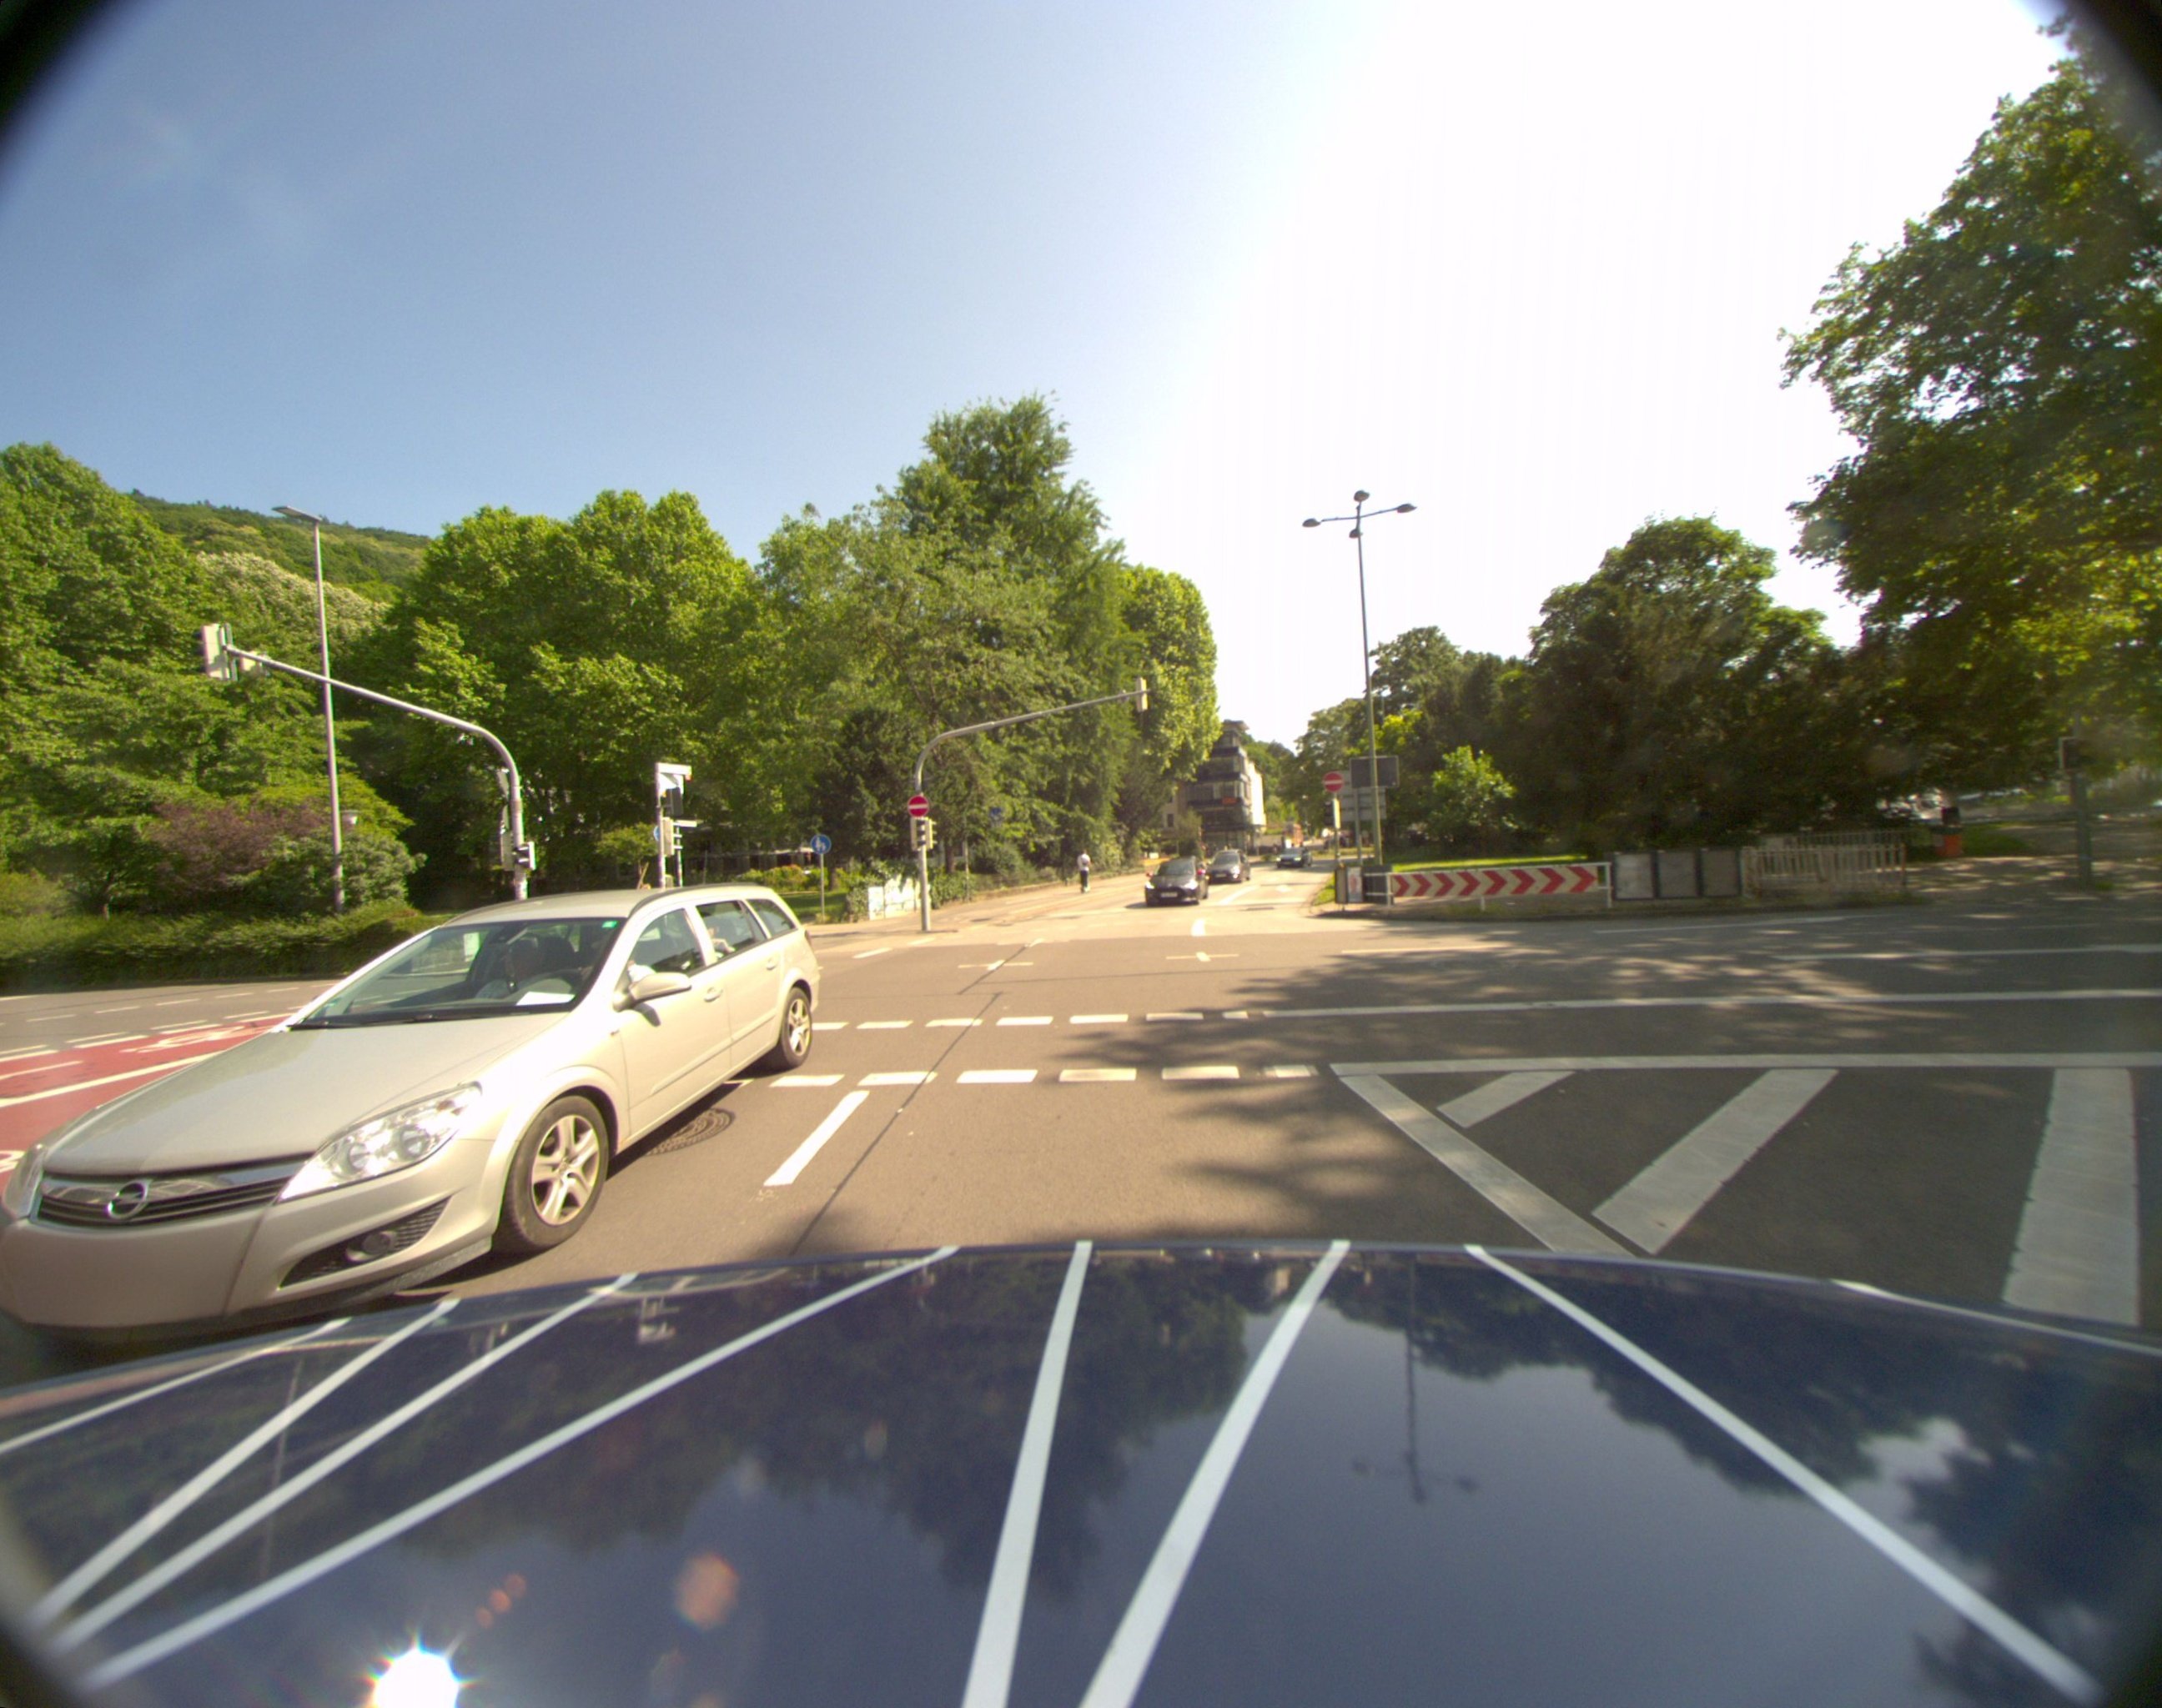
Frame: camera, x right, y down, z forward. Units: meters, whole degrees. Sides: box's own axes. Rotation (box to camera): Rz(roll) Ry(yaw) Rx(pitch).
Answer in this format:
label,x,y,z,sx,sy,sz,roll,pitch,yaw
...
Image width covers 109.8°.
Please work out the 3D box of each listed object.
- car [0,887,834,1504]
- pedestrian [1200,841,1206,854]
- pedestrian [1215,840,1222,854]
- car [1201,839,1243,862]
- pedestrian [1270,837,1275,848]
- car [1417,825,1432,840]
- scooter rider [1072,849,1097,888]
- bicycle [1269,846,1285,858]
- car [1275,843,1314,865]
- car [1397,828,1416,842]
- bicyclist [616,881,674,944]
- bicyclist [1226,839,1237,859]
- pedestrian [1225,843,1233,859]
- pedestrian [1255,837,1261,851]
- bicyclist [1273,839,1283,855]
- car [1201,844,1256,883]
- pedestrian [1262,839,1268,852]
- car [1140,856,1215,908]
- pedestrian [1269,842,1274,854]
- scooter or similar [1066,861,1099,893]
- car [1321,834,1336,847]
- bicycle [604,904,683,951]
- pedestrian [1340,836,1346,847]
label,x,y,z,sx,sy,sz,roll,pitch,yaw
car,-3.028,1.076,4.326,1.712,1.513,4.406,-3,0,0
pedestrian,15.675,-0.832,97.462,0.653,1.695,0.647,-3,1,12
pedestrian,17.554,-0.931,97.286,0.700,1.695,0.603,-3,1,18
car,9.811,-0.235,52.504,1.938,1.421,4.556,-3,0,22
pedestrian,27.907,-1.681,110.858,0.601,1.695,0.605,-3,1,20
car,48.700,-3.099,107.791,1.848,2.002,4.006,-3,1,23
scooter rider,0.157,0.654,33.770,0.822,1.662,0.710,-2,2,22
bicycle,19.936,-0.199,77.207,0.709,1.048,2.211,-3,1,37
car,15.494,-0.046,55.018,1.938,1.421,4.556,-3,0,26
car,41.965,-2.418,98.020,1.848,1.652,4.004,-3,0,17
bicyclist,-11.721,1.564,20.454,0.942,1.566,0.868,-3,2,8
bicyclist,12.827,-0.413,64.735,0.765,1.627,0.944,-3,2,18
pedestrian,15.756,-0.313,81.031,0.710,1.663,0.535,-3,1,17
pedestrian,23.156,-1.310,99.495,0.601,1.695,0.605,-3,1,25
bicyclist,20.041,-0.740,77.179,0.709,1.603,0.733,-3,1,37
car,7.335,0.412,37.516,1.887,1.674,4.147,-1,2,22
pedestrian,24.729,-1.121,102.155,0.601,1.695,0.605,-3,1,25
car,3.379,0.894,25.922,1.808,1.443,3.958,-2,2,17
pedestrian,26.846,-0.874,107.191,0.601,1.695,0.605,-3,1,20
scooter or similar,0.075,1.012,33.503,0.819,1.291,1.698,-2,1,22
car,36.011,-1.952,110.371,1.848,1.777,4.005,-3,0,19
bicycle,-11.787,1.976,20.497,1.675,1.114,0.784,-3,1,10
pedestrian,38.329,-1.823,111.245,0.601,1.695,0.605,-3,1,27
